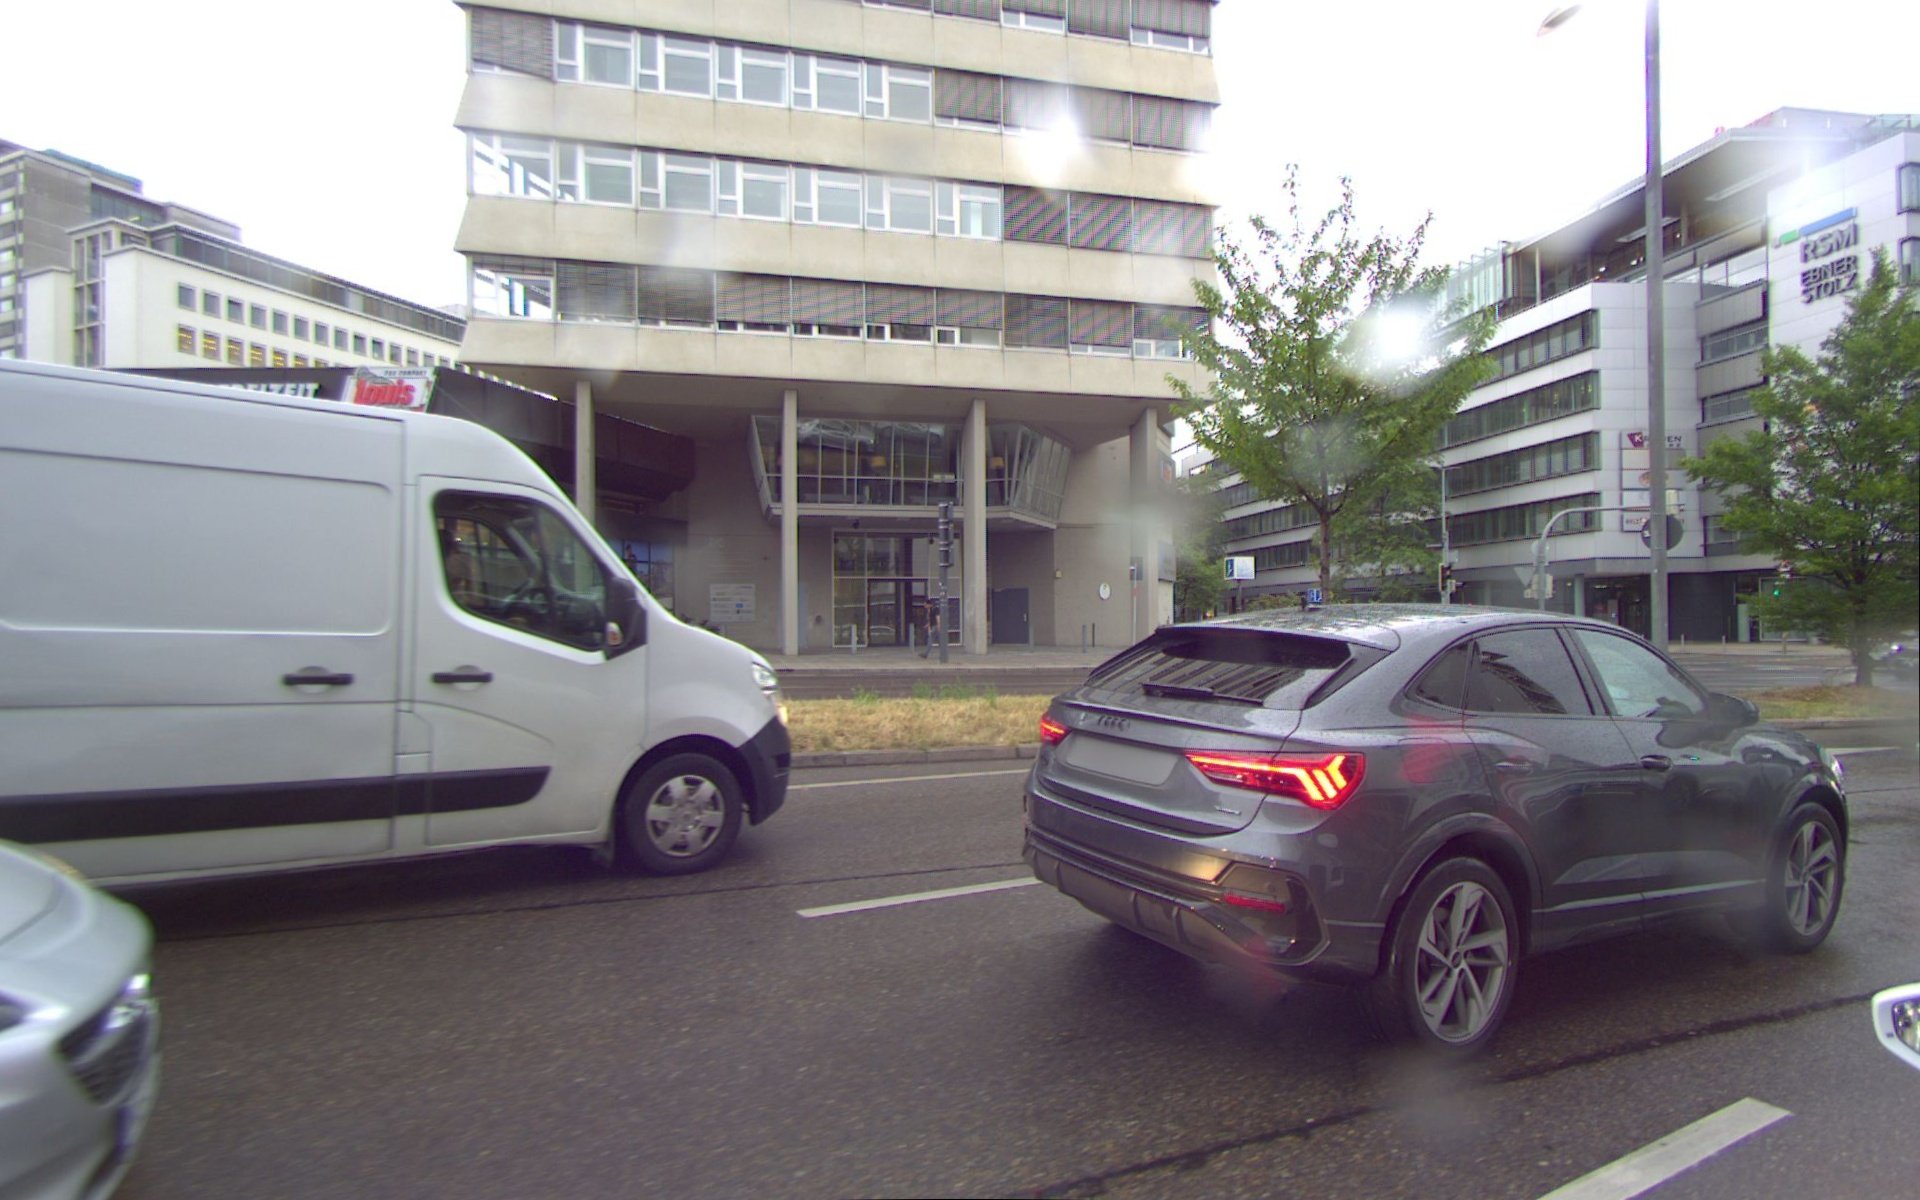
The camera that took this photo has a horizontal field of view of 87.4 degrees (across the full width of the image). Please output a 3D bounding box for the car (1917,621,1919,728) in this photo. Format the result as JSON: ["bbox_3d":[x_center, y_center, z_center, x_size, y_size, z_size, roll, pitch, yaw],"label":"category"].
[{"bbox_3d":[15.617,1.116,14.041,3.940,1.506,1.704,2,-1,-21],"label":"car"}]

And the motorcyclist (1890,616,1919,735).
[{"bbox_3d":[11.932,0.918,11.999,1.101,1.398,0.769,2,0,-21],"label":"motorcyclist"}]

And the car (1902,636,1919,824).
[{"bbox_3d":[9.420,1.061,7.719,4.048,1.426,1.568,2,-1,-21],"label":"car"}]

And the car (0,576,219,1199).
[{"bbox_3d":[-3.449,0.647,1.307,3.832,1.455,1.639,1,0,-32],"label":"car"}]

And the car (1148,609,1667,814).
[{"bbox_3d":[4.291,0.914,9.548,4.712,1.554,1.860,1,0,-25],"label":"car"}]

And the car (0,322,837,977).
[{"bbox_3d":[-3.488,0.199,5.093,5.427,2.473,1.933,1,0,-36],"label":"car"}]

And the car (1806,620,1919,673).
[{"bbox_3d":[31.140,1.561,33.819,3.928,1.632,1.996,1,1,-10],"label":"car"}]

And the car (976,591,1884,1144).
[{"bbox_3d":[2.303,0.784,4.581,4.221,1.542,1.640,1,0,-30],"label":"car"}]

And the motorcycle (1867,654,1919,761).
[{"bbox_3d":[11.923,1.282,12.003,1.998,1.200,0.798,2,0,-22],"label":"motorcycle"}]

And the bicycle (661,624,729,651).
[{"bbox_3d":[-8.878,1.268,33.677,2.166,0.871,0.456,2,0,-31],"label":"bicycle"}]

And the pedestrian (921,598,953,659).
[{"bbox_3d":[-0.655,0.804,28.703,0.751,1.706,0.677,1,0,-16],"label":"pedestrian"}]

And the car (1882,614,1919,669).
[{"bbox_3d":[29.146,1.231,29.004,4.079,1.556,1.645,1,0,-12],"label":"car"}]
